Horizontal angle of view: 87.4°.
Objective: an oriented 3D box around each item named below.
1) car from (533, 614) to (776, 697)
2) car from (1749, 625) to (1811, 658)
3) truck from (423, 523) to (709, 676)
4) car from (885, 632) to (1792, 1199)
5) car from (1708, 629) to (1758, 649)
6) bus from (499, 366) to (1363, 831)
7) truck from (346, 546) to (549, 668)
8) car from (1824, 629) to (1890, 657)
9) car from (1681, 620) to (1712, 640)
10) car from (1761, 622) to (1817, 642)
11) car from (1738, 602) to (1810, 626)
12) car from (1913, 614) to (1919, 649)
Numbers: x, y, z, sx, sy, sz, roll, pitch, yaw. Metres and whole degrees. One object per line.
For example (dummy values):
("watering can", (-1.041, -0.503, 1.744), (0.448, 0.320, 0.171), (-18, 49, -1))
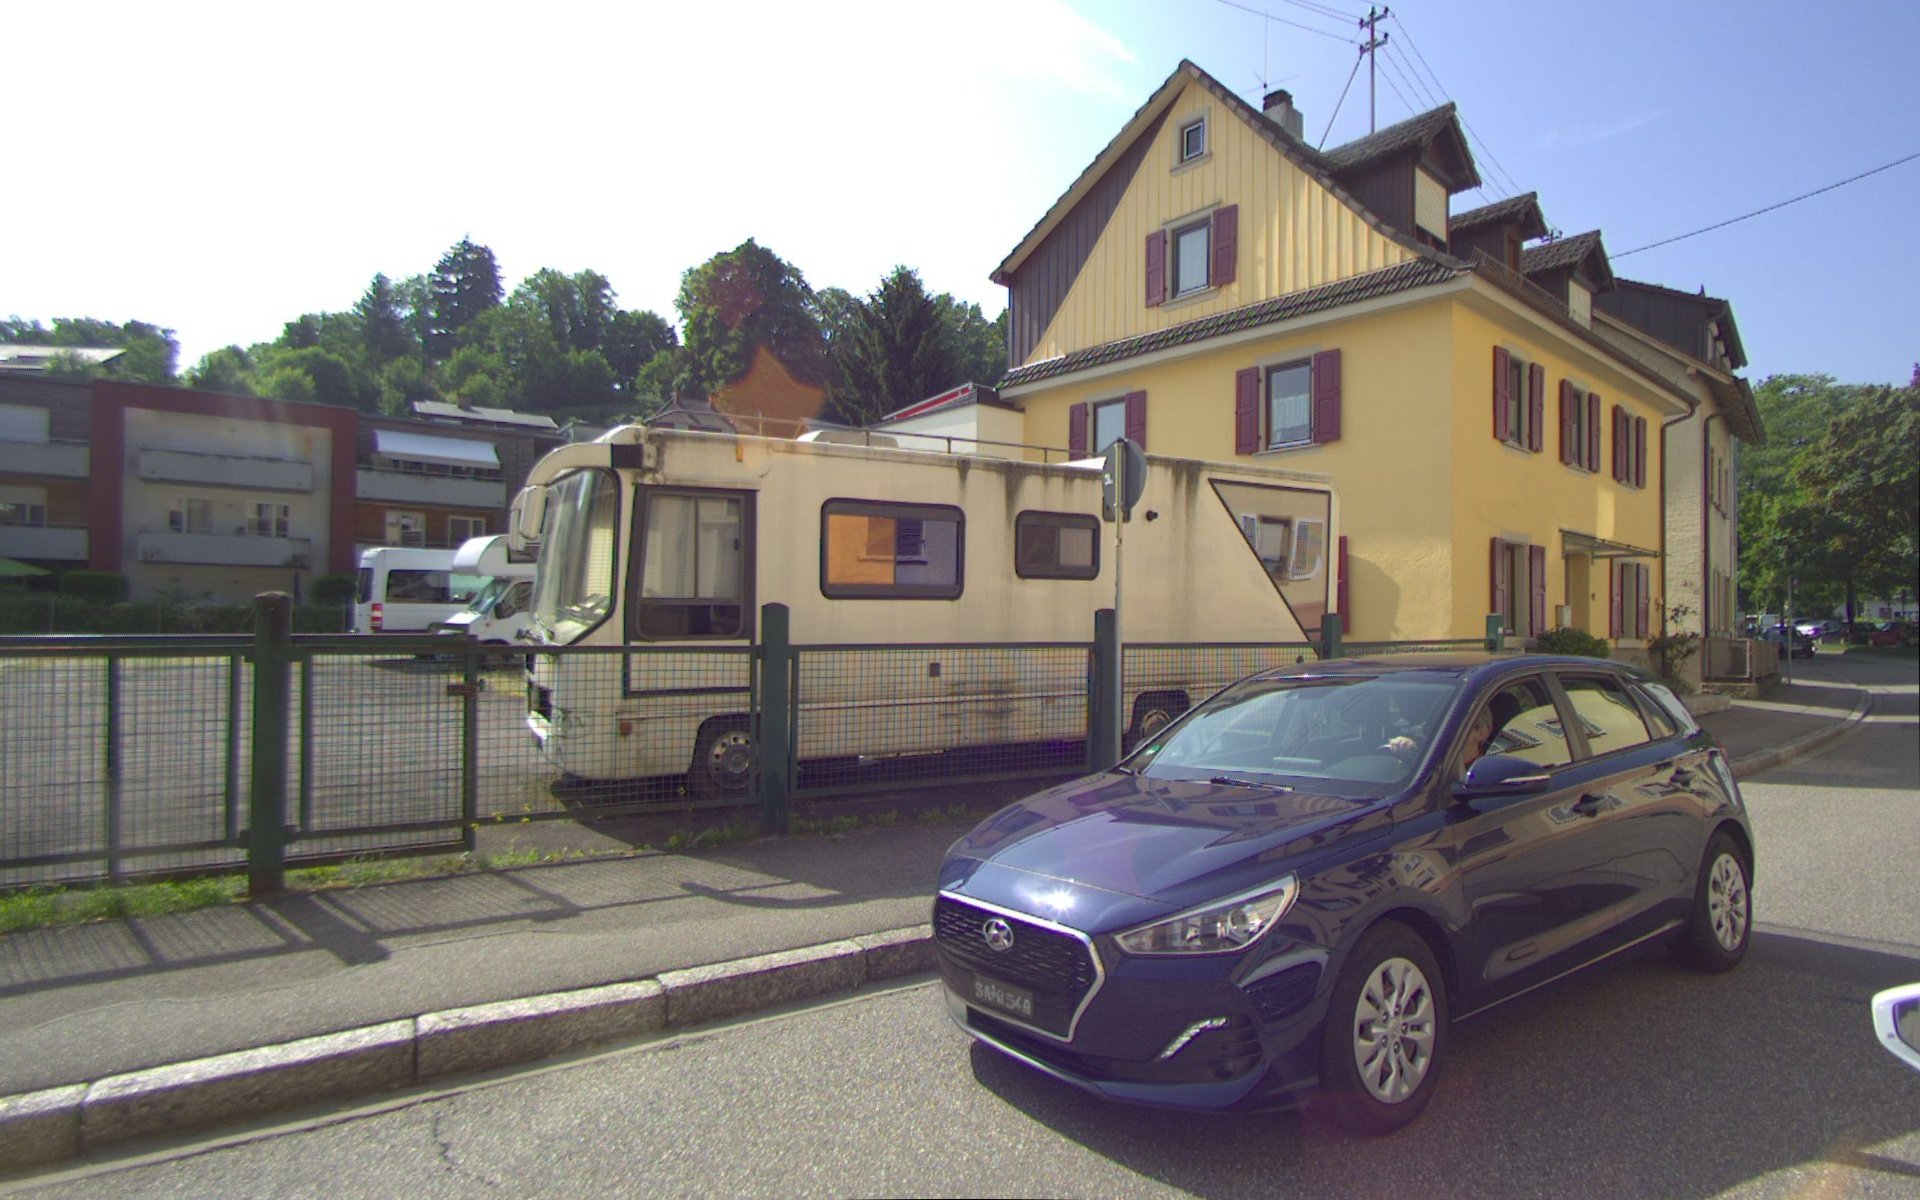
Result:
("car", (-5.469, 0.933, 18.116), (3.955, 1.286, 1.585), (0, 1, -32))
("car", (41.922, 2.118, 51.416), (1.798, 1.557, 3.992), (-5, -4, 31))
("truck", (-8.934, -0.008, 23.116), (5.694, 3.100, 2.385), (0, 1, -41))
("car", (1.842, 0.952, 4.435), (3.986, 1.471, 1.737), (0, -5, -35))
("car", (58.090, 2.927, 75.526), (1.644, 1.487, 3.412), (0, -1, 11))
("bus", (0.187, 0.060, 10.626), (8.934, 3.271, 2.805), (1, 0, -32))
("truck", (-12.271, 0.111, 24.176), (4.047, 2.688, 1.935), (0, 2, -41))
("car", (54.584, 2.588, 61.222), (1.681, 1.563, 3.999), (-1, -1, 21))
("car", (59.811, 2.459, 81.602), (1.719, 1.572, 3.745), (0, -1, 31))
("car", (65.299, 2.494, 79.079), (3.943, 1.572, 1.806), (1, -1, -23))
("car", (67.088, 1.165, 82.782), (4.614, 1.879, 1.998), (0, -1, -8))
("car", (49.799, 1.601, 50.156), (1.793, 1.815, 3.999), (-1, -1, 21))
